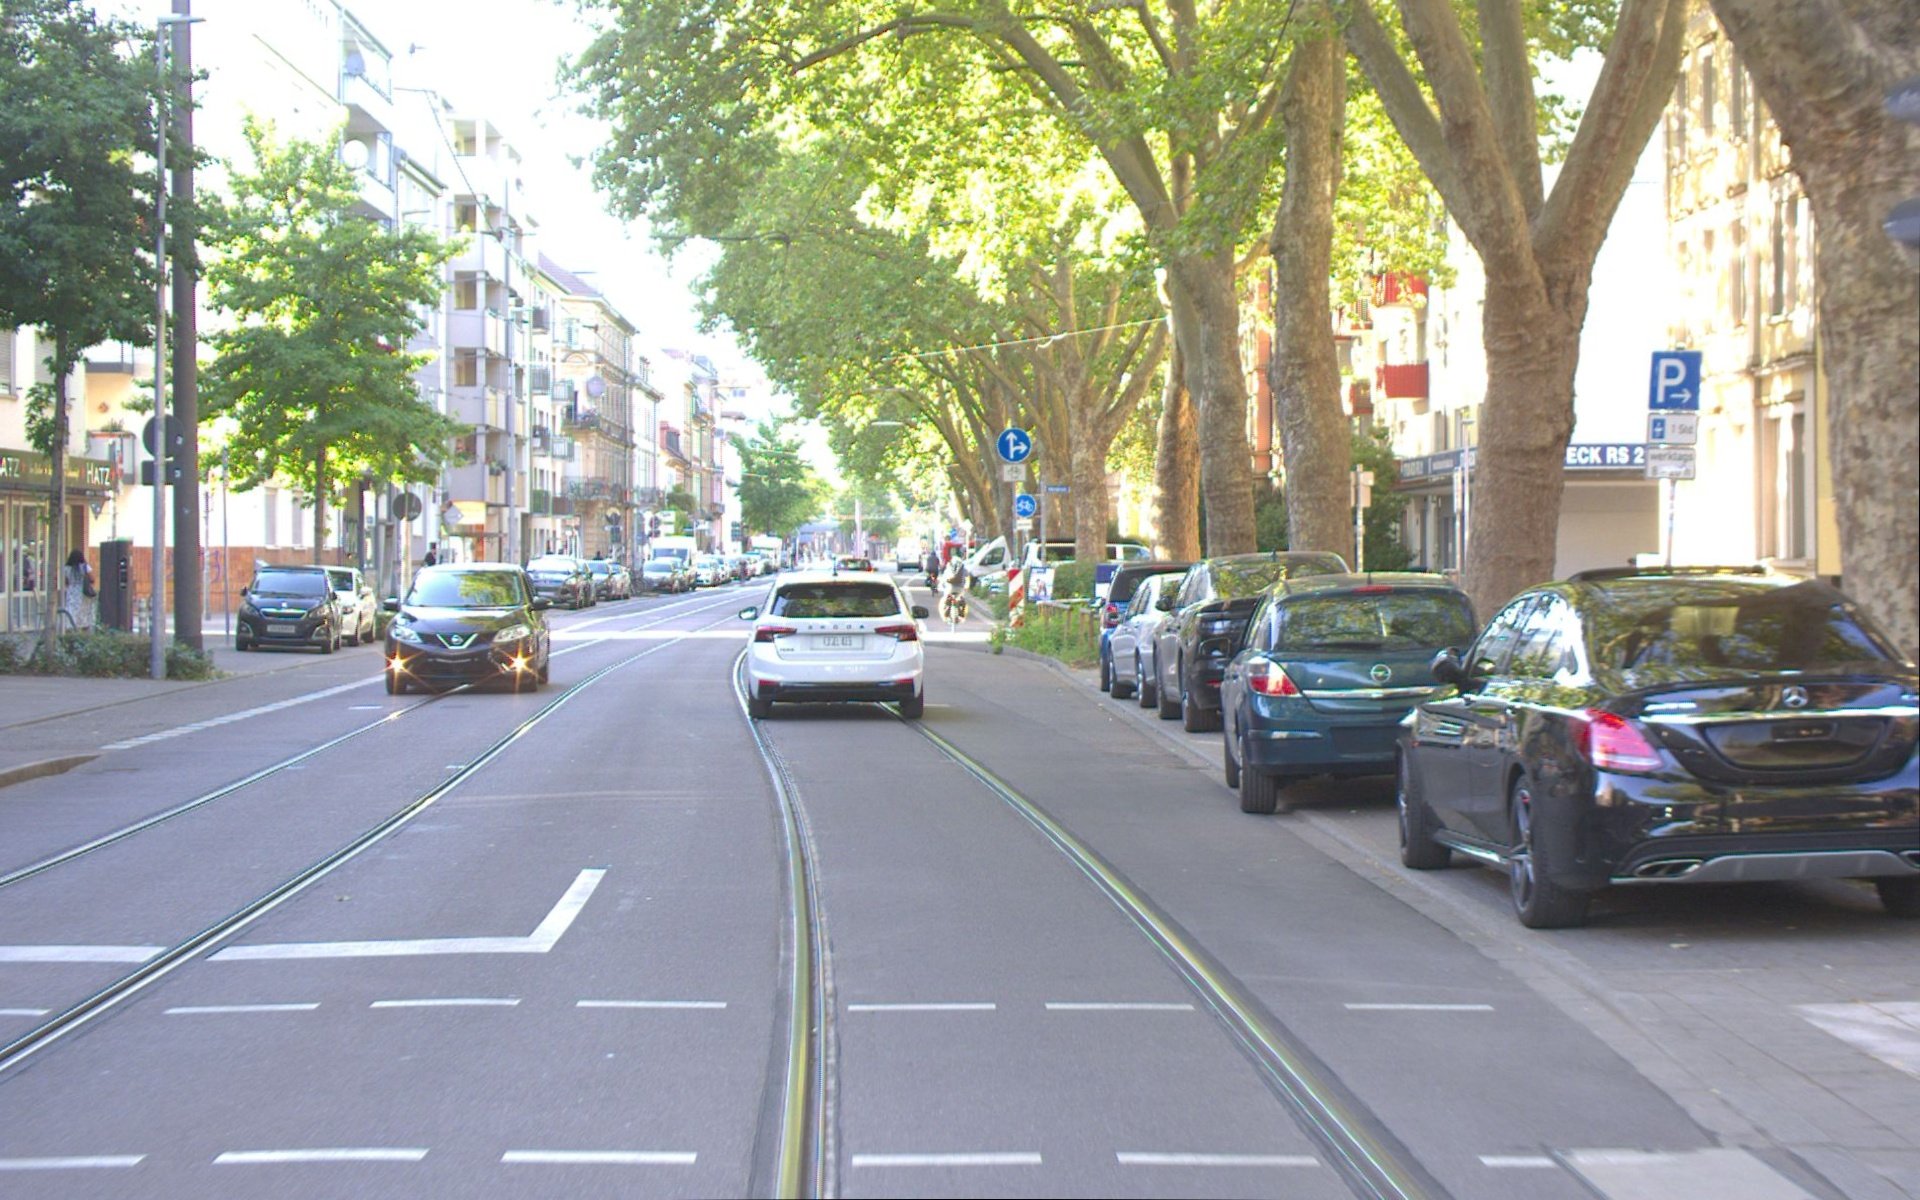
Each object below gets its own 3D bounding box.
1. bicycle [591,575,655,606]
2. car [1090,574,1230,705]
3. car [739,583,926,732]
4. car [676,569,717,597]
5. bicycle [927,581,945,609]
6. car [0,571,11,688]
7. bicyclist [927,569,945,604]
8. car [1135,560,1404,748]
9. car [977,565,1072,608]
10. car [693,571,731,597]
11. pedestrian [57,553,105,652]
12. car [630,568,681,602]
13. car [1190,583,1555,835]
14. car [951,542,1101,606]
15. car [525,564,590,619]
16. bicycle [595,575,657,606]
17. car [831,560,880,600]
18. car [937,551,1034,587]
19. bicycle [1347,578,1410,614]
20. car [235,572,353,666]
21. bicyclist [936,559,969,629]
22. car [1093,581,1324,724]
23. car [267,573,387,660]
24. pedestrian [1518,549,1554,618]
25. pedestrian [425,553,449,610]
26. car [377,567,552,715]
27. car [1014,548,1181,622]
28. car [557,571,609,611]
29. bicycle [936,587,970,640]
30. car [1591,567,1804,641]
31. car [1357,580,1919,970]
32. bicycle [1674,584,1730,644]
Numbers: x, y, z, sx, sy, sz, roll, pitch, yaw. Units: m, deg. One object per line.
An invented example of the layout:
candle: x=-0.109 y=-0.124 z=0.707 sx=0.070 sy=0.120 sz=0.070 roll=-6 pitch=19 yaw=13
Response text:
bicycle: x=-13.873 y=-0.400 z=141.505 sx=2.525 sy=1.168 sz=0.883 roll=3 pitch=-1 yaw=-40
car: x=2.427 y=0.475 z=42.263 sx=1.564 sy=1.514 sz=2.910 roll=-1 pitch=0 yaw=1
car: x=-1.287 y=0.534 z=34.459 sx=1.761 sy=1.379 sz=4.000 roll=0 pitch=1 yaw=-2
car: x=-14.221 y=-0.920 z=185.589 sx=1.993 sy=1.525 sz=4.000 roll=0 pitch=1 yaw=-1
bicycle: x=-0.936 y=-0.196 z=133.231 sx=0.649 sy=1.067 sz=1.583 roll=0 pitch=1 yaw=-3
car: x=-14.083 y=0.333 z=42.878 sx=4.012 sy=1.470 sz=1.852 roll=1 pitch=0 yaw=-3
bicyclist: x=-0.943 y=-0.527 z=133.241 sx=0.649 sy=1.339 sz=0.934 roll=0 pitch=0 yaw=-3
car: x=2.817 y=0.481 z=32.325 sx=1.857 sy=1.598 sz=4.782 roll=-1 pitch=0 yaw=-3
car: x=2.472 y=-0.526 z=131.597 sx=3.634 sy=1.661 sz=1.822 roll=0 pitch=1 yaw=1
car: x=-14.385 y=-0.934 z=199.552 sx=1.993 sy=1.525 sz=4.000 roll=0 pitch=1 yaw=-1
pedestrian: x=-15.130 y=0.037 z=59.181 sx=0.663 sy=1.685 sz=0.749 roll=0 pitch=0 yaw=-3
car: x=-13.583 y=-0.678 z=153.540 sx=1.993 sy=1.525 sz=4.000 roll=0 pitch=1 yaw=-1
car: x=2.568 y=0.632 z=22.331 sx=1.864 sy=1.432 sz=4.226 roll=-1 pitch=1 yaw=0
car: x=2.743 y=-1.087 z=143.851 sx=6.129 sy=2.626 sz=2.529 roll=0 pitch=0 yaw=-3
car: x=-12.753 y=-0.282 z=109.114 sx=1.702 sy=1.645 sz=4.242 roll=3 pitch=1 yaw=-3
bicycle: x=-13.828 y=-0.403 z=142.388 sx=2.524 sy=1.168 sz=0.719 roll=2 pitch=-1 yaw=-7
car: x=-3.880 y=-0.753 z=128.009 sx=1.761 sy=1.470 sz=4.000 roll=0 pitch=1 yaw=-1
car: x=1.631 y=-2.012 z=222.690 sx=6.129 sy=2.275 sz=2.529 roll=0 pitch=0 yaw=-3
bicycle: x=12.708 y=-0.110 z=104.375 sx=1.791 sy=1.038 sz=0.618 roll=-2 pitch=0 yaw=-5
car: x=-11.469 y=0.303 z=59.408 sx=1.713 sy=1.459 sz=4.001 roll=3 pitch=0 yaw=-8
bicyclist: x=-0.160 y=-0.132 z=70.982 sx=0.678 sy=1.438 sz=1.047 roll=0 pitch=0 yaw=0
car: x=2.653 y=0.554 z=37.728 sx=1.816 sy=1.431 sz=4.603 roll=-1 pitch=0 yaw=-5
car: x=-11.780 y=0.285 z=64.191 sx=1.713 sy=1.459 sz=4.378 roll=3 pitch=0 yaw=-5
pedestrian: x=13.807 y=-0.406 z=82.418 sx=0.746 sy=1.639 sz=0.666 roll=0 pitch=0 yaw=0
pedestrian: x=-16.766 y=-0.605 z=110.164 sx=0.663 sy=1.820 sz=0.965 roll=0 pitch=0 yaw=-3
car: x=-5.863 y=0.444 z=41.025 sx=1.871 sy=1.584 sz=4.147 roll=2 pitch=1 yaw=-6
car: x=3.851 y=-0.425 z=96.868 sx=4.543 sy=2.069 sz=2.001 roll=0 pitch=0 yaw=-3
car: x=-13.633 y=-0.339 z=124.455 sx=1.653 sy=1.432 sz=3.837 roll=0 pitch=1 yaw=-3
bicycle: x=-0.156 y=0.269 z=71.101 sx=0.681 sy=1.067 sz=1.781 roll=0 pitch=1 yaw=0
car: x=16.172 y=0.083 z=75.493 sx=4.130 sy=1.588 sz=2.000 roll=0 pitch=0 yaw=-6
car: x=3.071 y=0.645 z=15.507 sx=1.764 sy=1.457 sz=5.013 roll=0 pitch=0 yaw=-3
bicycle: x=14.169 y=0.264 z=65.695 sx=0.582 sy=1.100 sz=1.923 roll=-2 pitch=0 yaw=-2
